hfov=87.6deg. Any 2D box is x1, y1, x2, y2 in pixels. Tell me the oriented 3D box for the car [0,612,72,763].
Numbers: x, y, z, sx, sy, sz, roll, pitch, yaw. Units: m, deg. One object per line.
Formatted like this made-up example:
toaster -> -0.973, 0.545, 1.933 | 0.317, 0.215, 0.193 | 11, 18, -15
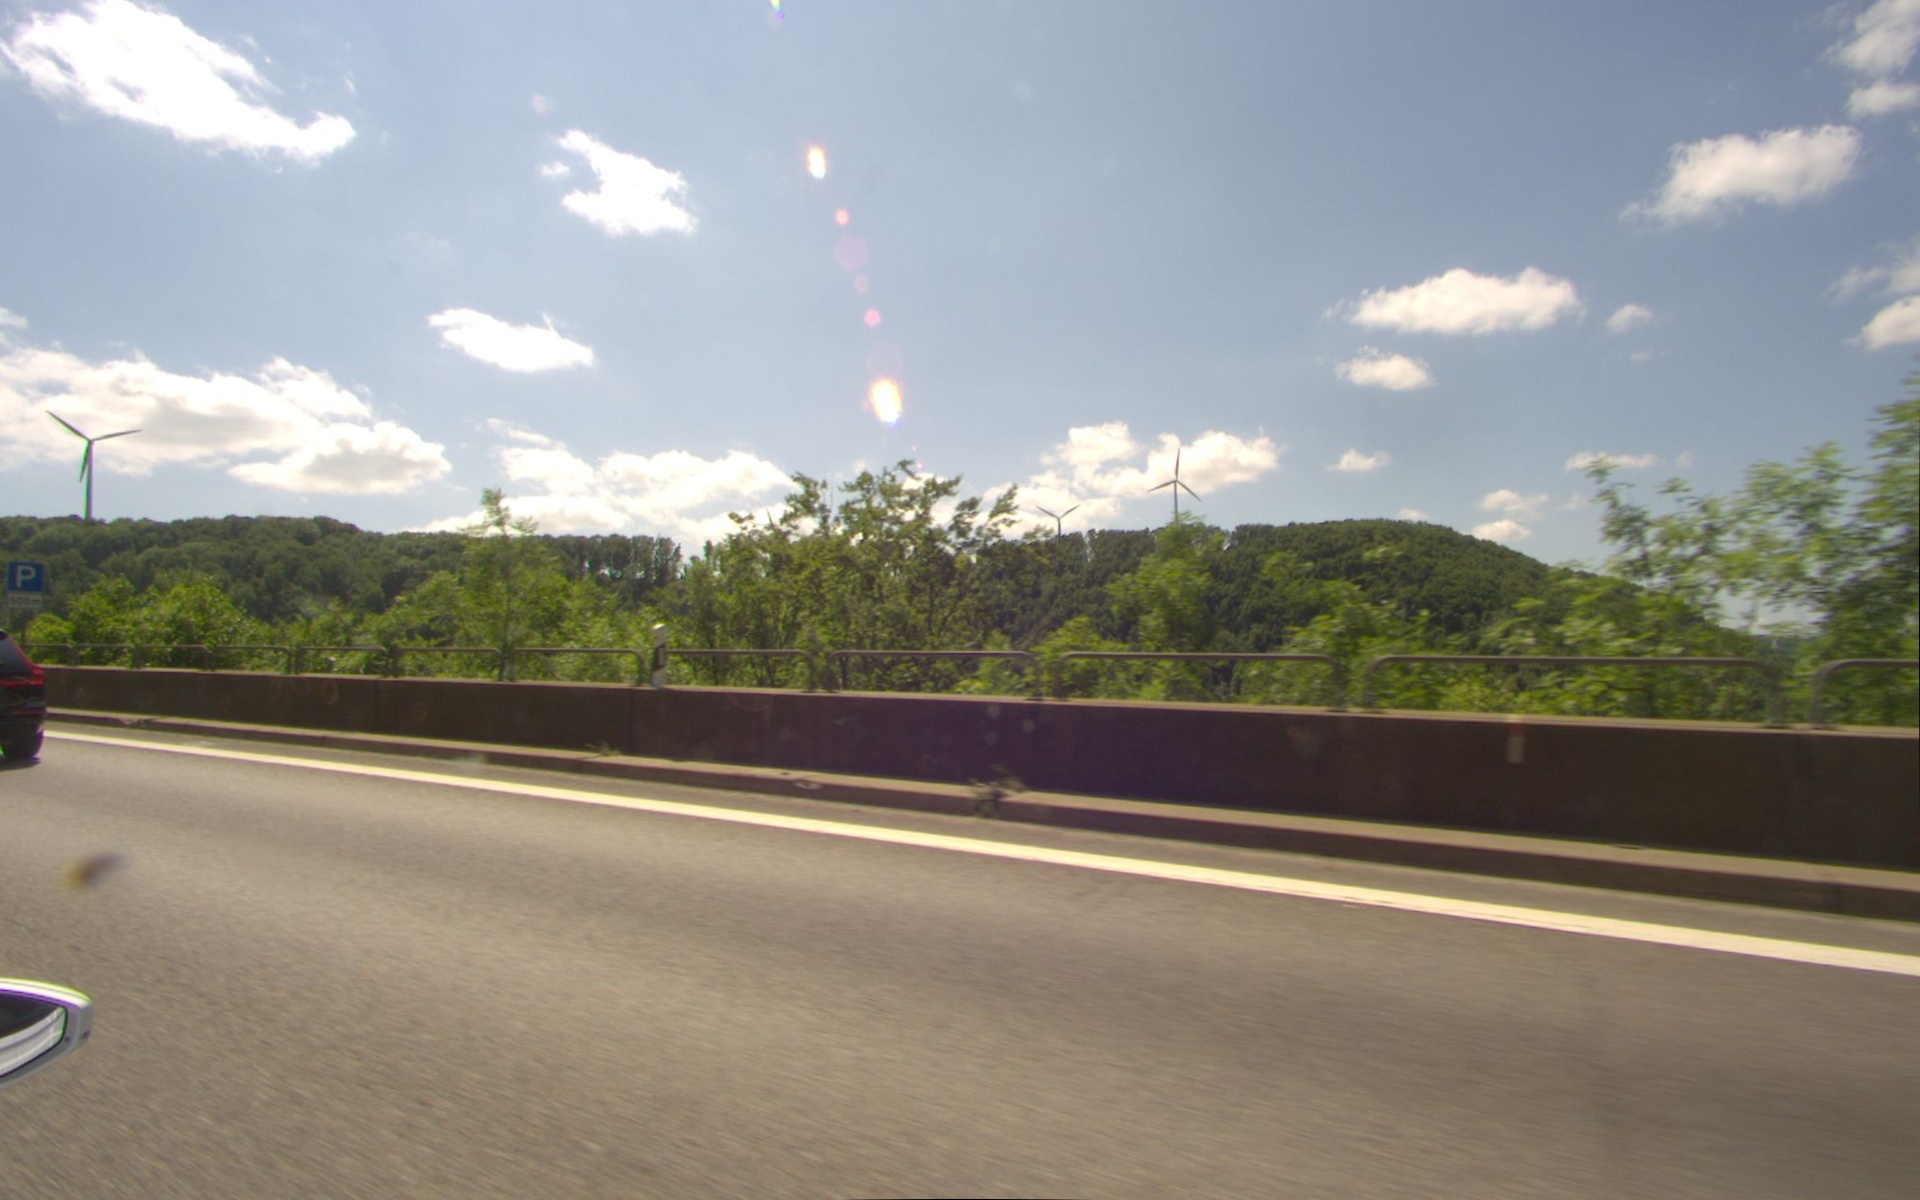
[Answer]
car -> -12.639, 0.987, 11.866 | 4.593, 1.654, 1.833 | -1, -1, 30
